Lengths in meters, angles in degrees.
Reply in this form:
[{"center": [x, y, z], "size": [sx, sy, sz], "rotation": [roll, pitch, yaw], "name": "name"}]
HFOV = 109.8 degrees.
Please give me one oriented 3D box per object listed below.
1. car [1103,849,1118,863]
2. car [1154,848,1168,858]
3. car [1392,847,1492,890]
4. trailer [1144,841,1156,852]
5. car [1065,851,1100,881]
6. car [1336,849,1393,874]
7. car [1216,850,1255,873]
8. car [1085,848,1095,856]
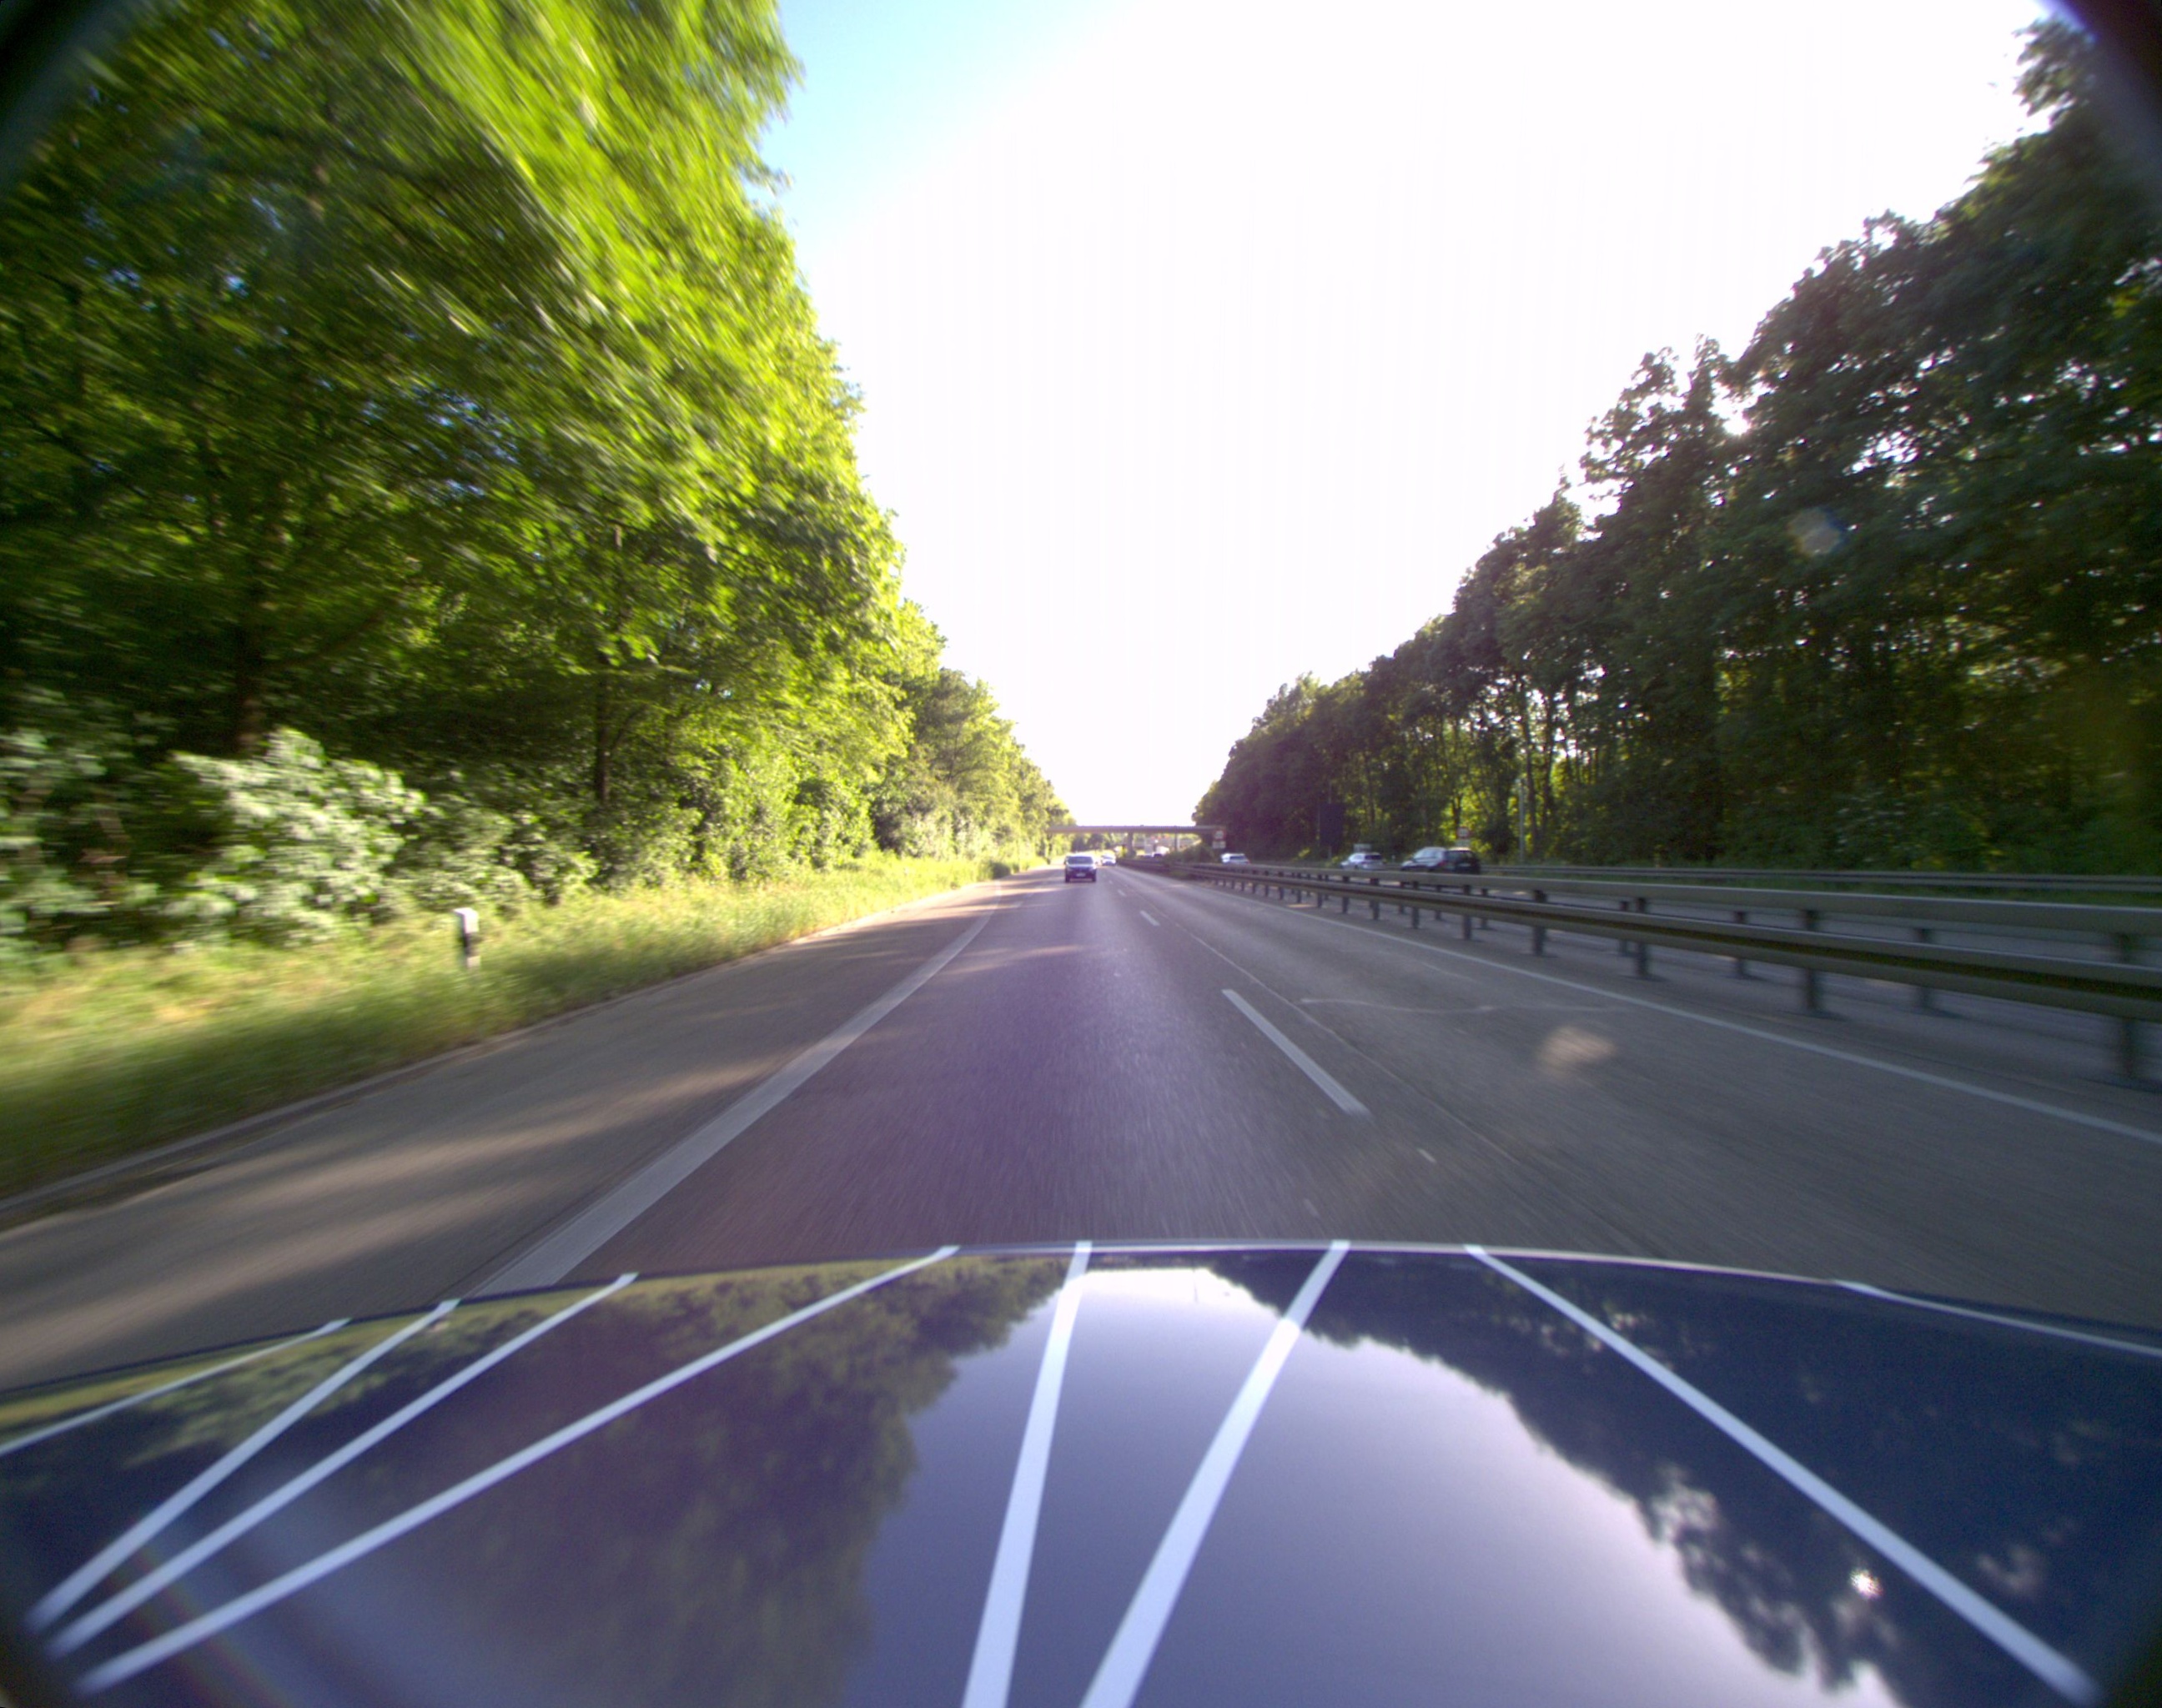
[{"center": [4.093, 0.268, 106.914], "size": [1.998, 1.793, 4.000], "rotation": [1, 1, 2], "name": "car"}, {"center": [12.532, -0.224, 119.279], "size": [1.754, 1.488, 3.942], "rotation": [1, 1, 0], "name": "car"}, {"center": [15.490, 0.571, 32.948], "size": [1.998, 1.689, 4.907], "rotation": [1, 1, 0], "name": "car"}, {"center": [21.853, -2.392, 241.096], "size": [2.937, 3.150, 11.916], "rotation": [1, 1, 2], "name": "trailer"}, {"center": [0.150, 0.662, 43.601], "size": [1.712, 1.565, 3.423], "rotation": [-2, 1, 4], "name": "car"}, {"center": [18.672, 0.458, 50.249], "size": [1.998, 1.591, 4.707], "rotation": [1, 1, 0], "name": "car"}, {"center": [11.477, 0.521, 56.826], "size": [1.998, 1.551, 4.707], "rotation": [1, 1, 0], "name": "car"}, {"center": [1.854, -0.417, 160.163], "size": [1.998, 1.740, 4.372], "rotation": [1, 1, 1], "name": "car"}]
